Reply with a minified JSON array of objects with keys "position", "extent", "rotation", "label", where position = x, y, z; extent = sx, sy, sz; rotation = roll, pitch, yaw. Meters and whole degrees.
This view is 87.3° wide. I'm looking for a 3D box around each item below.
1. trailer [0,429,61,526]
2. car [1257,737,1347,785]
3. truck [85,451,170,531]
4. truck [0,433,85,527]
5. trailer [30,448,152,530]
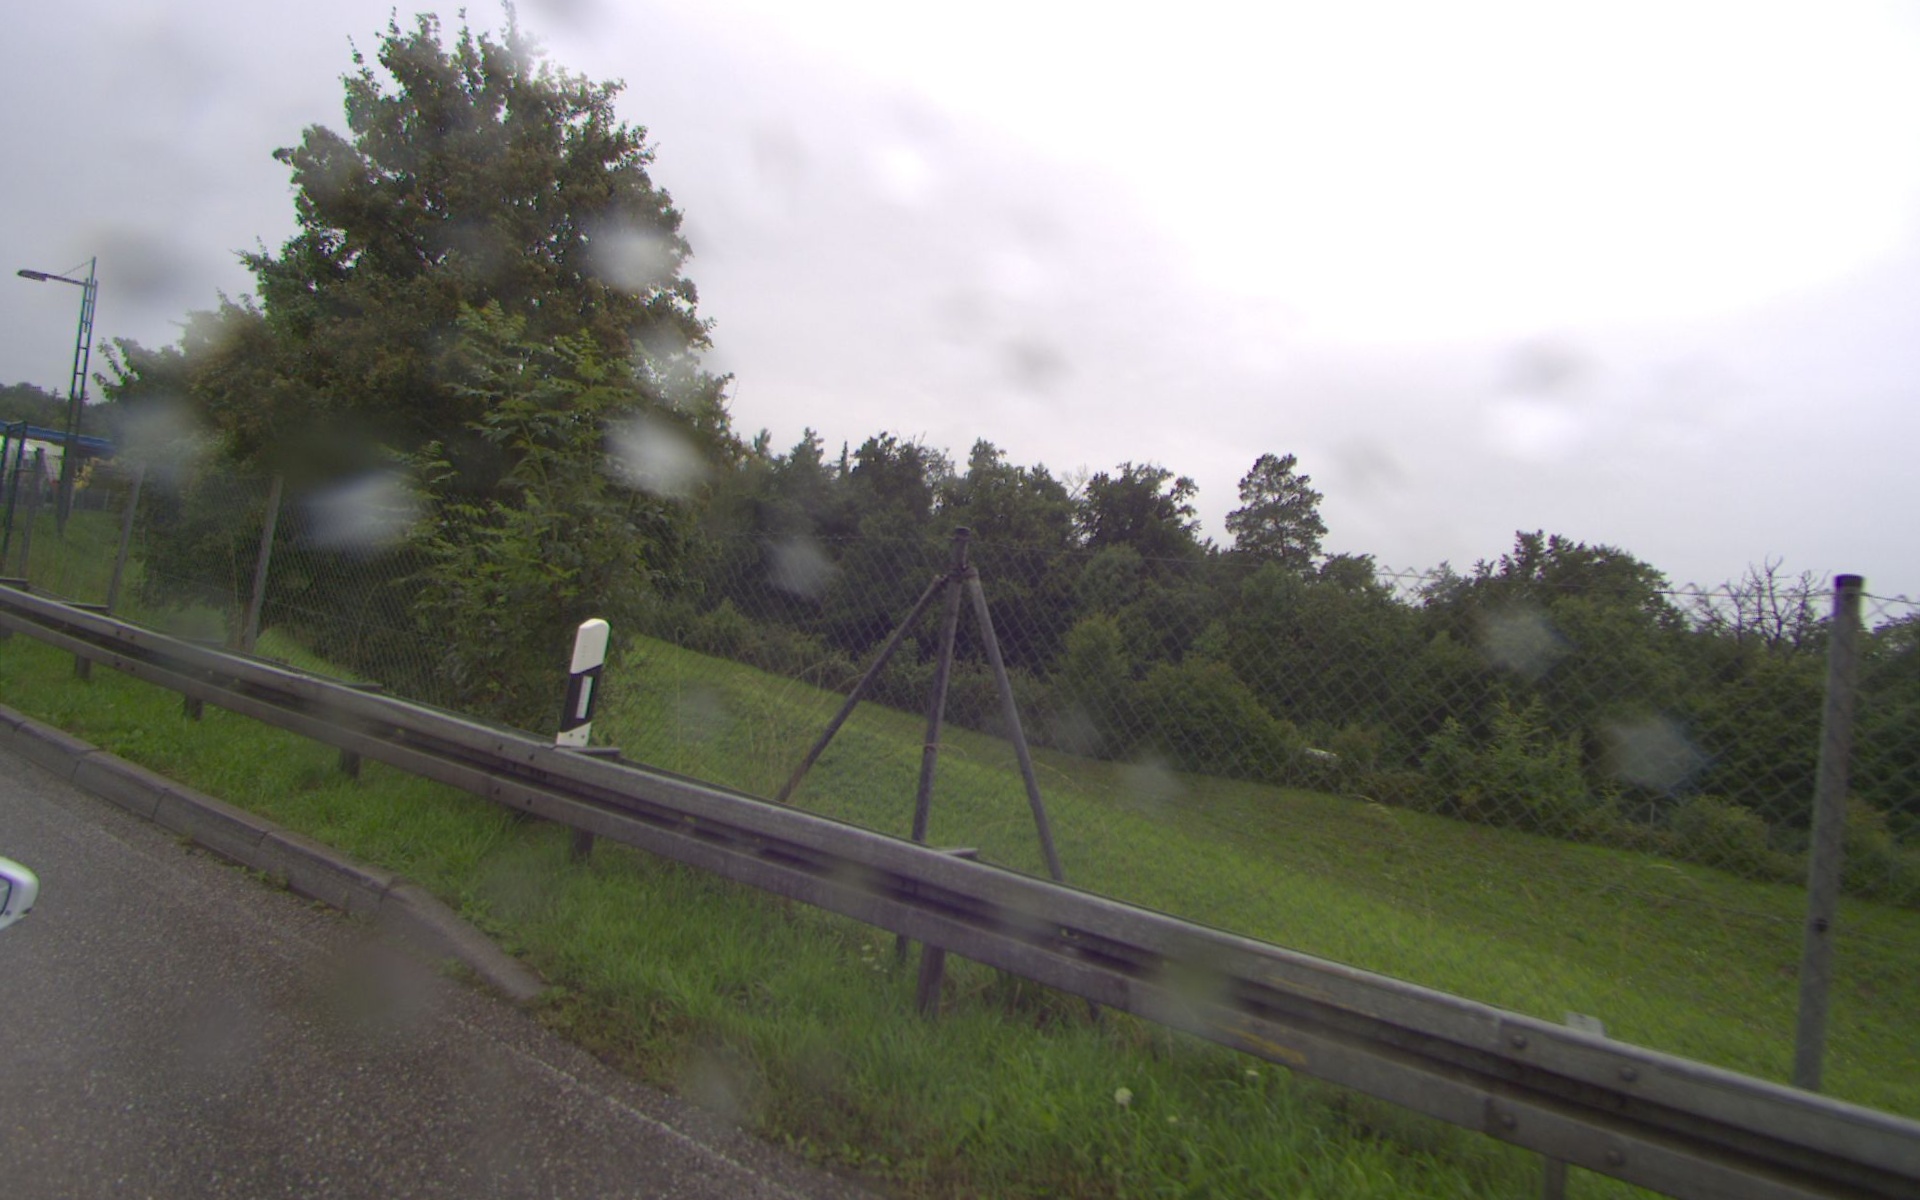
[{"position":[-37.448,-4.813,38.405],"extent":[2.115,3.482,10.176],"rotation":[7,-1,-29],"label":"trailer"},{"position":[17.573,8.278,51.735],"extent":[3.934,1.617,1.776],"rotation":[7,-7,32],"label":"car"},{"position":[-46.450,-5.992,56.227],"extent":[2.159,3.875,4.120],"rotation":[7,0,-22],"label":"truck"},{"position":[-40.538,-5.171,44.046],"extent":[2.129,3.555,4.611],"rotation":[7,0,-29],"label":"truck"},{"position":[-44.869,-5.602,52.207],"extent":[2.161,3.433,7.524],"rotation":[7,0,-22],"label":"trailer"}]
